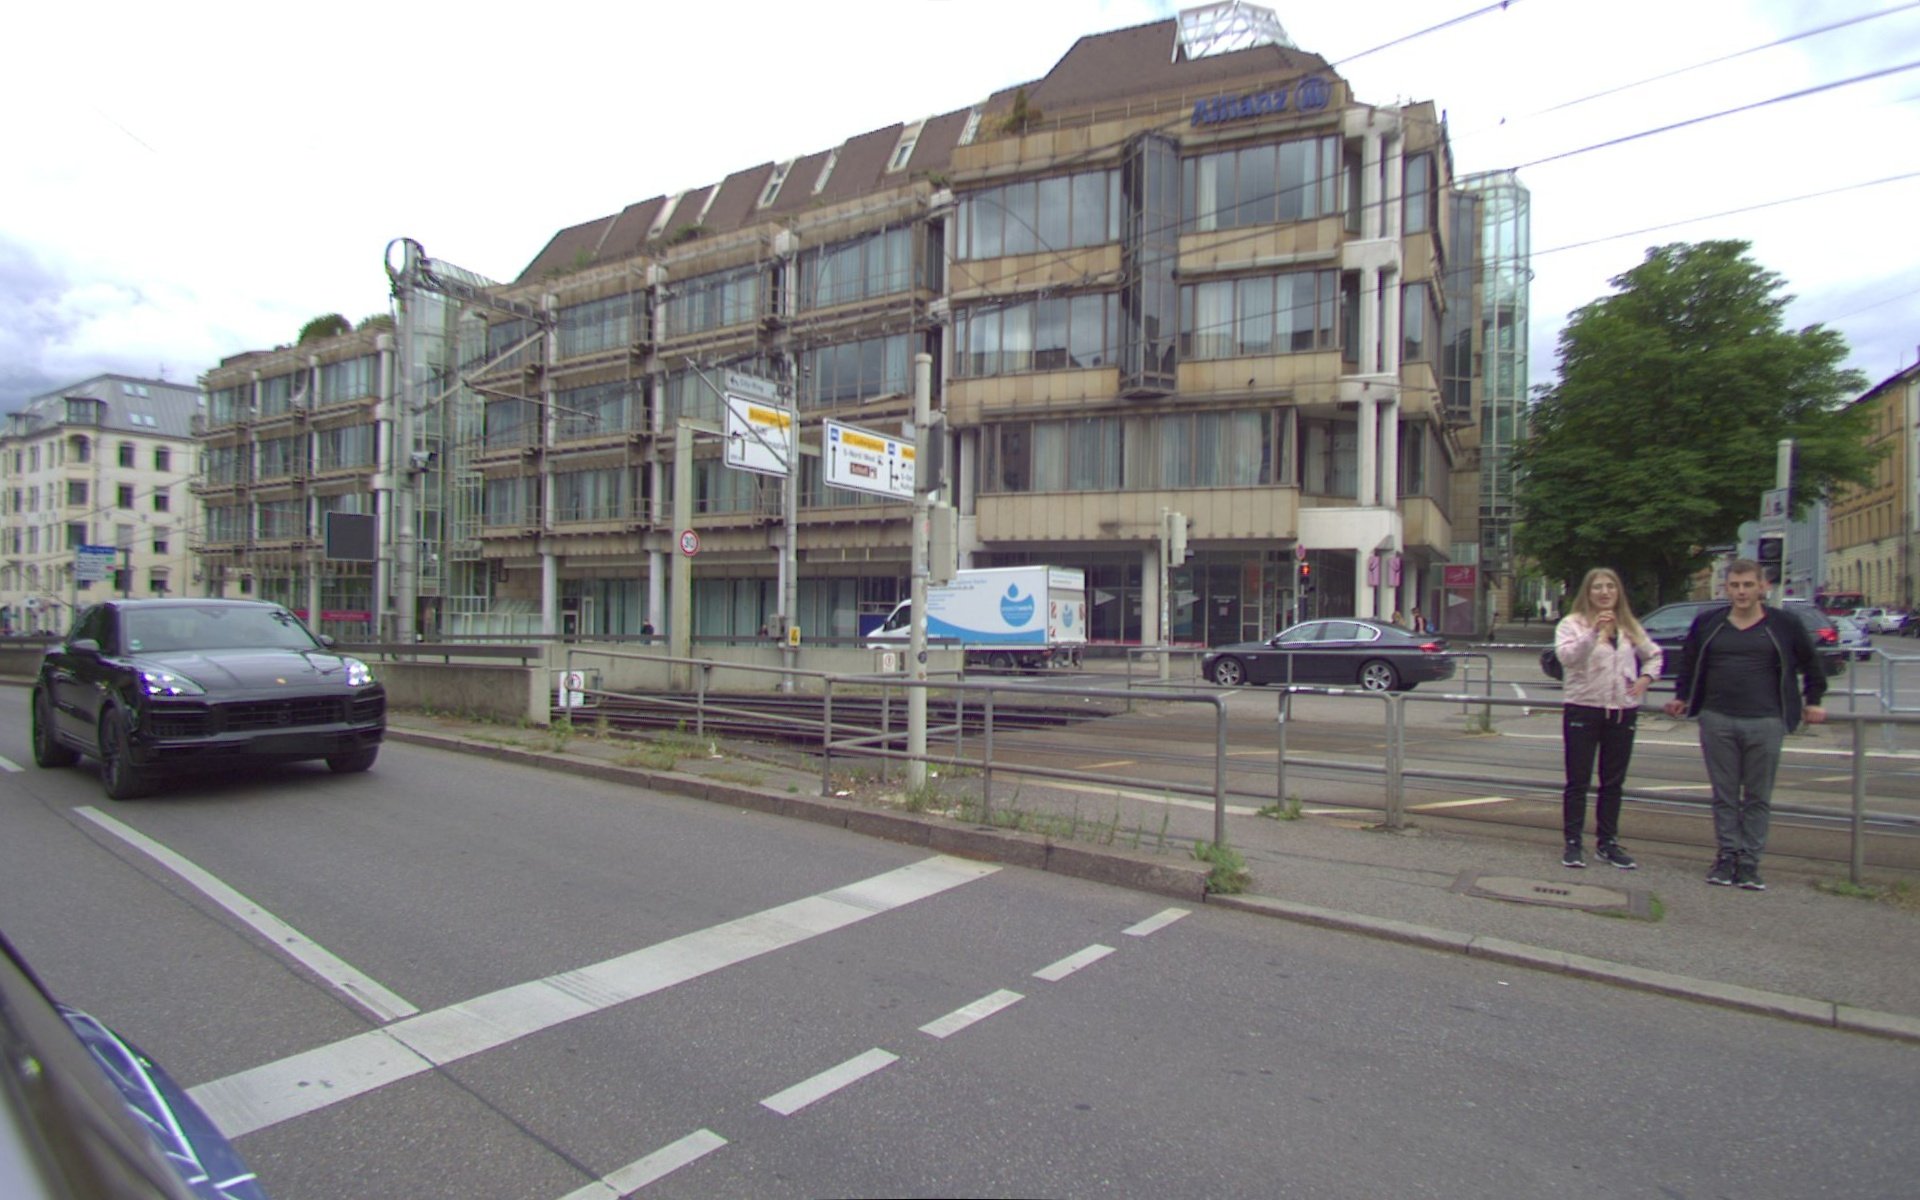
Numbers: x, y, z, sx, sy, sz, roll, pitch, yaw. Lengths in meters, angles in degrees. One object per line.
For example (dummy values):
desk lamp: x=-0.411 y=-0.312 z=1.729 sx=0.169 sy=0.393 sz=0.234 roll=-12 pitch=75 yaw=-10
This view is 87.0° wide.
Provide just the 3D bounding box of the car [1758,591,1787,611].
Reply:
car: x=73.281 y=0.136 z=91.297 sx=1.645 sy=1.725 sz=3.608 roll=-2 pitch=-1 yaw=34

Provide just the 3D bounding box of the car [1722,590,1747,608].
car: x=74.891 y=-0.078 z=97.919 sx=1.645 sy=1.725 sz=3.608 roll=-2 pitch=-1 yaw=34

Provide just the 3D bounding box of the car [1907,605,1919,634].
car: x=48.807 y=0.966 z=50.498 sx=1.645 sy=1.455 sz=3.608 roll=-2 pitch=-1 yaw=34

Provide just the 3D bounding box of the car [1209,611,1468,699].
car: x=7.394 y=1.029 z=20.049 sx=4.530 sy=1.564 sz=1.641 roll=-2 pitch=-2 yaw=39

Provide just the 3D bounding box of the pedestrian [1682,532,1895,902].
pedestrian: x=4.302 y=0.556 z=5.297 sx=0.772 sy=1.734 sz=0.784 roll=-2 pitch=-2 yaw=39

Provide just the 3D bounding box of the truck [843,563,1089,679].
truck: x=0.028 y=0.654 z=30.094 sx=7.358 sy=3.100 sz=2.246 roll=-1 pitch=-3 yaw=36

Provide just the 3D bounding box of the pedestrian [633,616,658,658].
pedestrian: x=-13.689 y=1.602 z=44.011 sx=0.738 sy=1.825 sz=0.724 roll=-1 pitch=0 yaw=34

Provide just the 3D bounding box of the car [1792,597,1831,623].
car: x=58.483 y=0.673 z=69.556 sx=1.645 sy=1.725 sz=3.608 roll=-2 pitch=-1 yaw=34

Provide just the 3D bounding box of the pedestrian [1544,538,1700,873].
pedestrian: x=3.764 y=0.553 z=5.746 sx=0.637 sy=1.734 sz=0.757 roll=-2 pitch=-2 yaw=39

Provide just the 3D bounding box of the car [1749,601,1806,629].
car: x=52.238 y=0.953 z=64.747 sx=1.915 sy=1.725 sz=4.453 roll=-1 pitch=-1 yaw=27

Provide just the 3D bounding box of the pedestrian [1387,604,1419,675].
pedestrian: x=11.251 y=0.993 z=25.712 sx=0.577 sy=1.793 sz=0.504 roll=-2 pitch=-2 yaw=42

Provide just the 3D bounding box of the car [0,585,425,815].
car: x=-7.586 y=0.751 z=9.881 sx=5.342 sy=1.688 sz=2.064 roll=0 pitch=-1 yaw=36

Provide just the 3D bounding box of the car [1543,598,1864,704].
car: x=14.031 y=0.899 z=19.325 sx=4.781 sy=1.772 sz=1.656 roll=-1 pitch=0 yaw=42

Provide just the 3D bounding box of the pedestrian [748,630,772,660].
pedestrian: x=-8.794 y=1.969 z=44.581 sx=0.738 sy=1.275 sz=0.724 roll=-1 pitch=0 yaw=34

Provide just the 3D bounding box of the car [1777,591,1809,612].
car: x=68.375 y=0.149 z=83.092 sx=1.645 sy=1.725 sz=3.608 roll=-2 pitch=-1 yaw=34

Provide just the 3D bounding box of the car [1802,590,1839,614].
car: x=63.785 y=0.164 z=75.058 sx=1.645 sy=1.725 sz=3.608 roll=-2 pitch=-1 yaw=34

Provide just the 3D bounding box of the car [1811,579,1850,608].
car: x=55.828 y=-0.391 z=64.921 sx=1.386 sy=1.753 sz=3.608 roll=-2 pitch=-1 yaw=33
